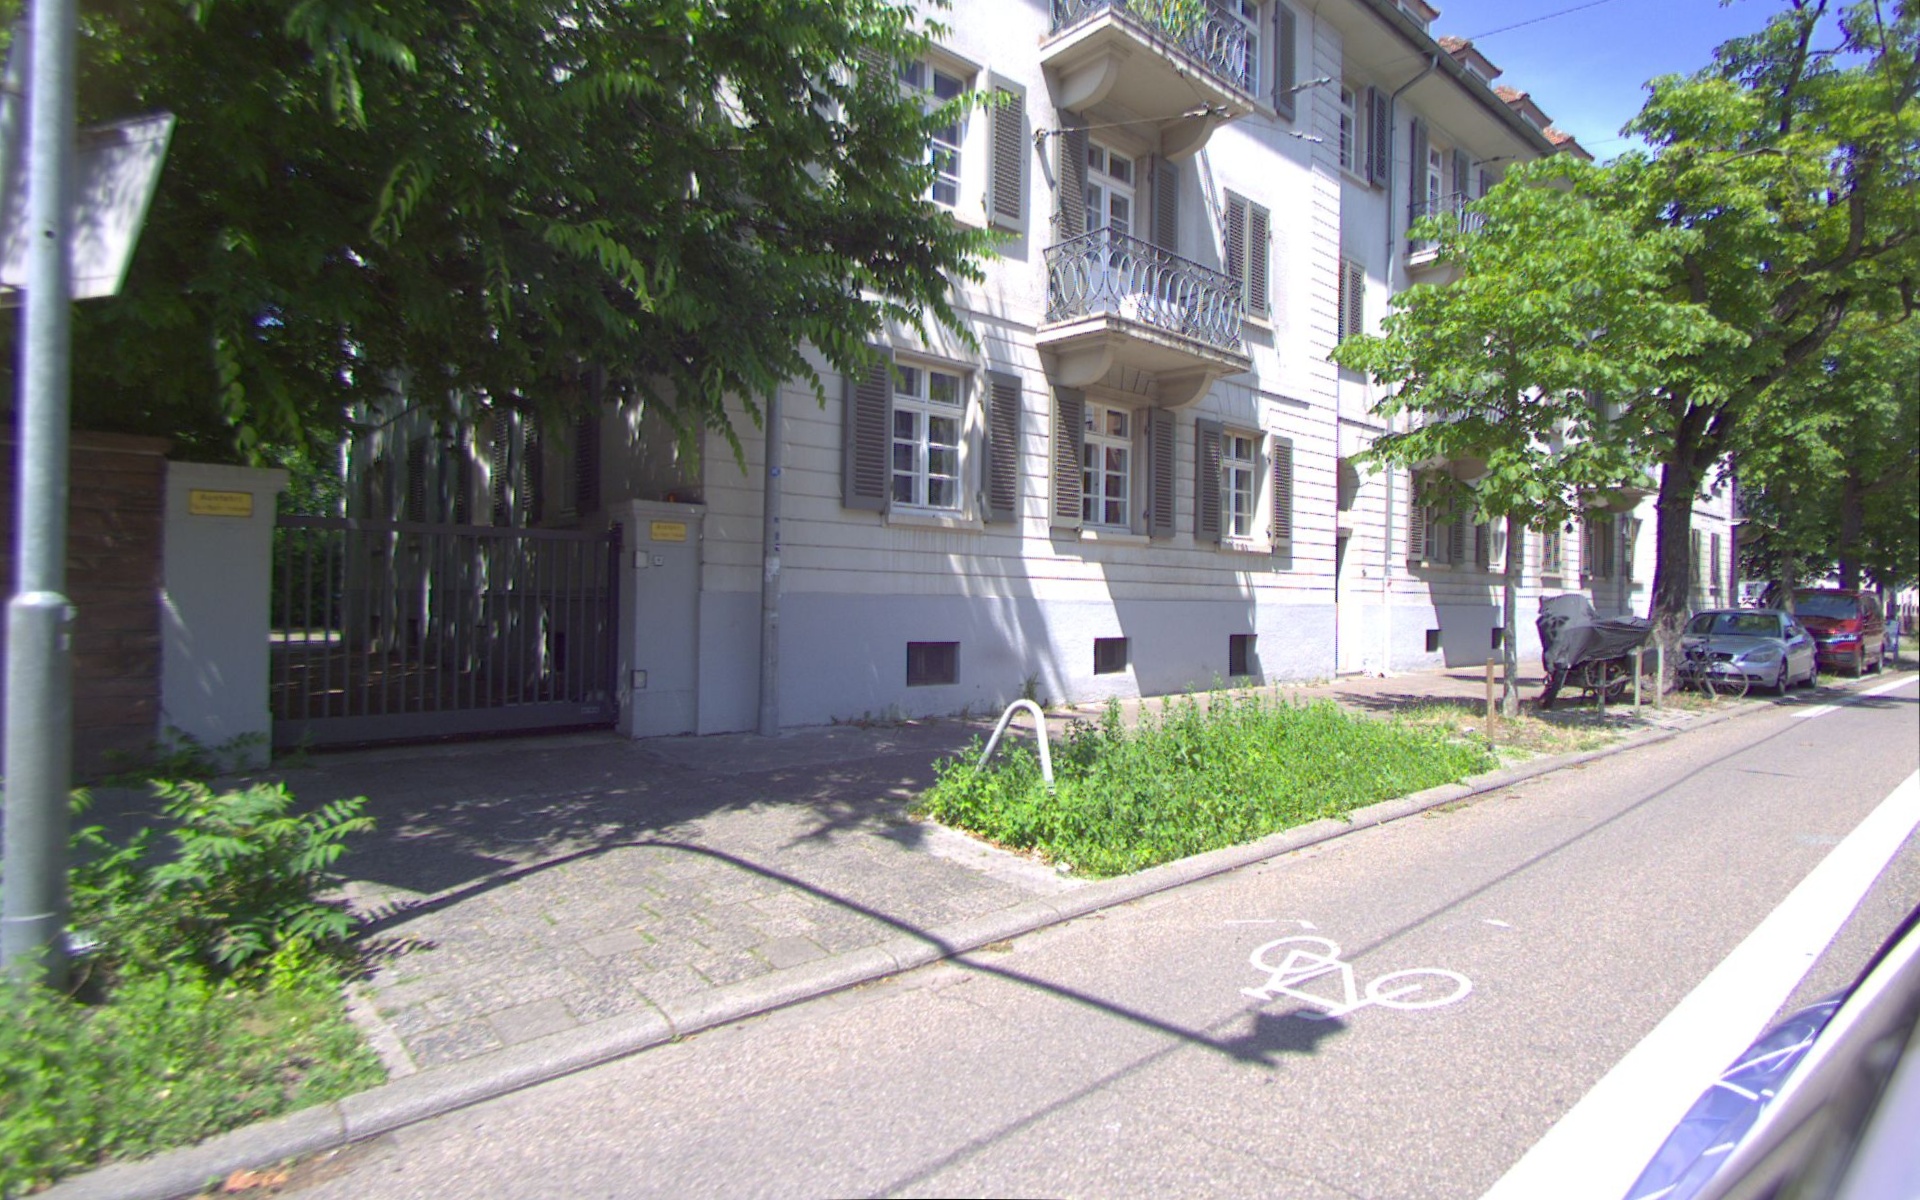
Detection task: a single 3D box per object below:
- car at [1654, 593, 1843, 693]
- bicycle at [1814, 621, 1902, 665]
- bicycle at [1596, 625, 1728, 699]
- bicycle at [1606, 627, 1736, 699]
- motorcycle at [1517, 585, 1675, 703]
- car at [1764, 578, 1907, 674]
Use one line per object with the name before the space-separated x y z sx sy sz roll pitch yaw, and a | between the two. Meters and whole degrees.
car | 14.528 0.705 18.545 4.792 1.597 1.863 0 0 -41
bicycle | 23.634 1.117 26.665 1.696 1.034 0.359 2 1 44
bicycle | 11.170 0.966 16.157 0.365 1.028 1.661 6 -2 -40
bicycle | 11.511 1.001 16.425 0.365 1.029 1.661 6 -3 -40
motorcycle | 8.867 0.594 14.062 2.507 1.525 0.748 1 0 -30
car | 20.614 0.561 23.752 4.888 2.039 1.863 1 0 -41
